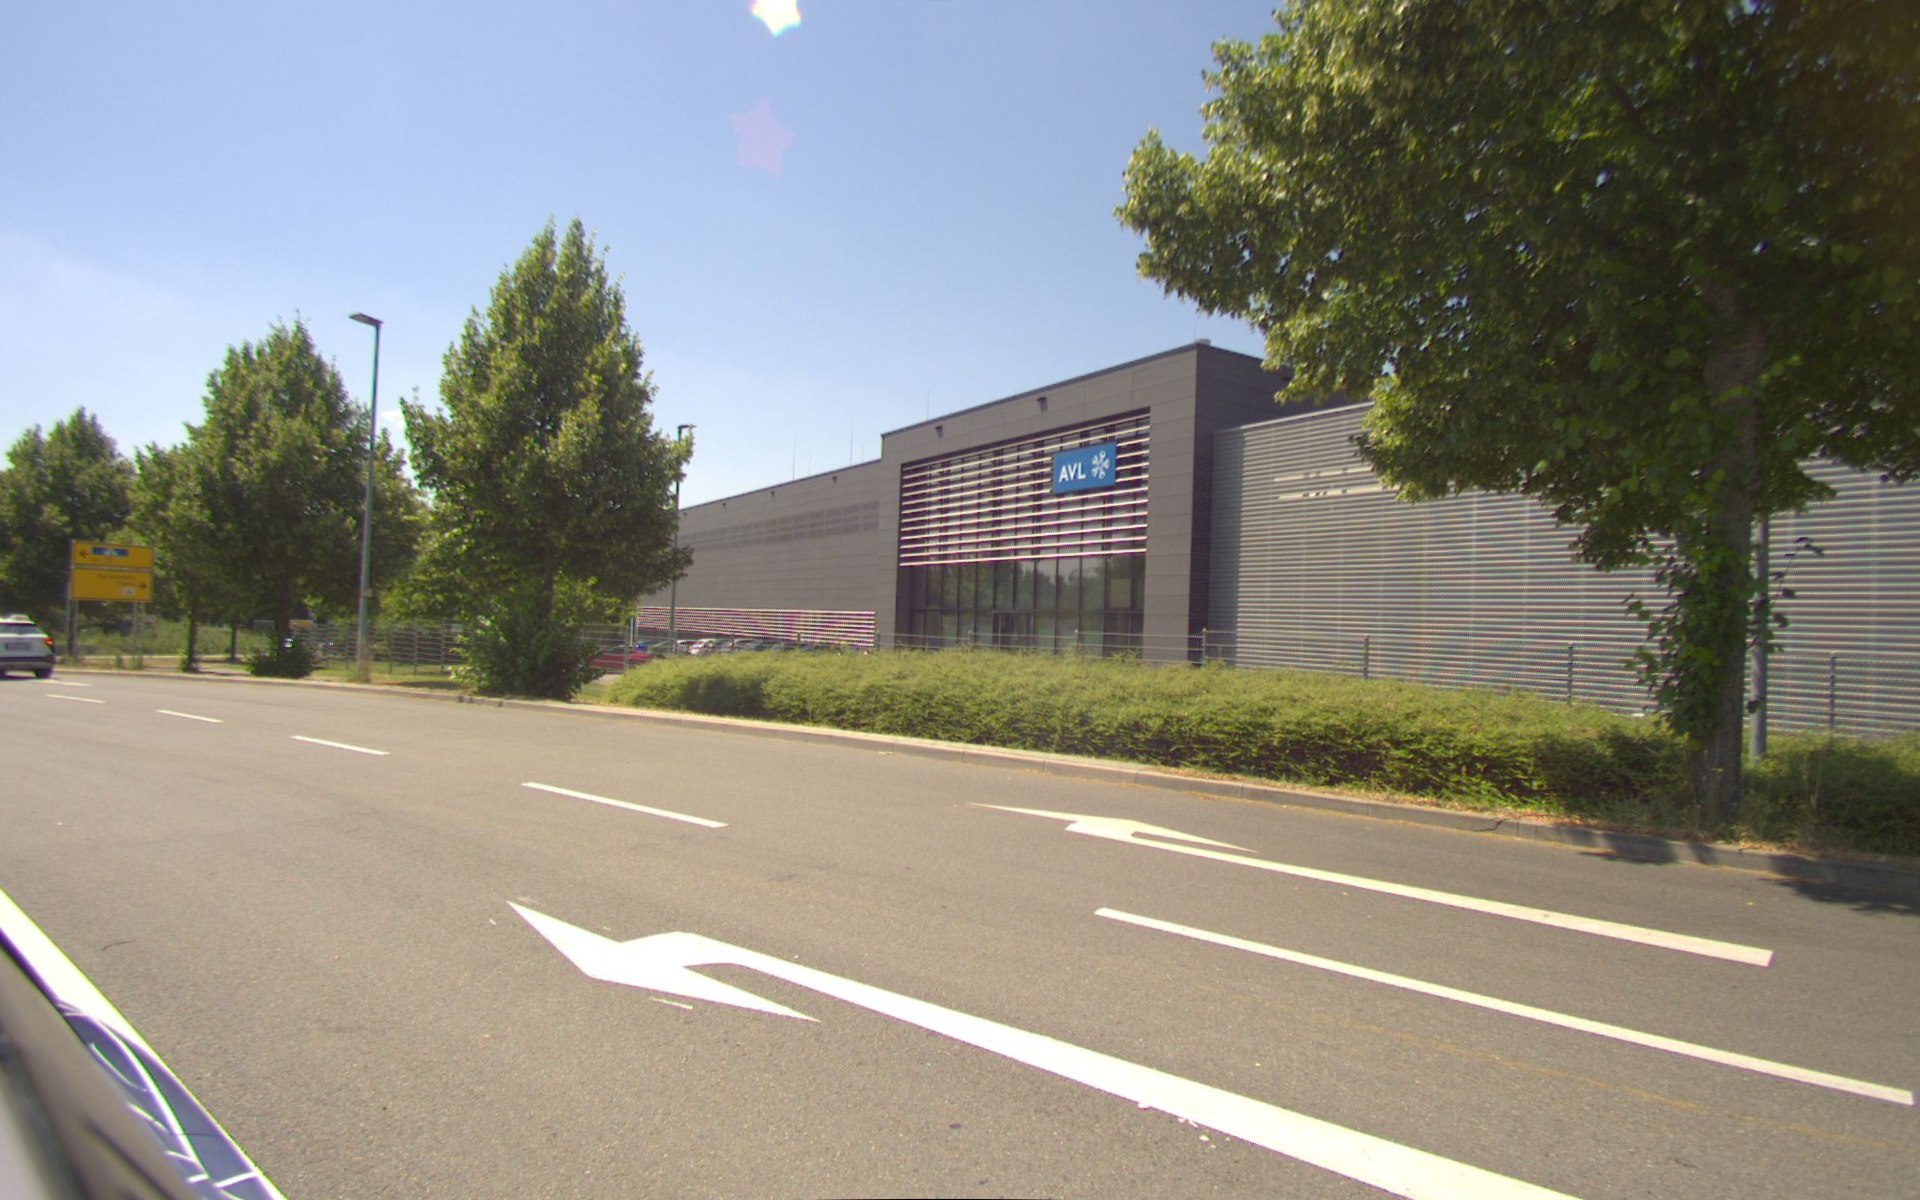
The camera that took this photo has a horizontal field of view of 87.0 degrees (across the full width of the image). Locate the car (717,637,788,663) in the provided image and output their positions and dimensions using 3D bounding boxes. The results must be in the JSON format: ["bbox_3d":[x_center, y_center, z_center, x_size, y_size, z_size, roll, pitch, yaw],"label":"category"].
[{"bbox_3d":[-13.062,3.192,63.769,3.934,1.528,1.924,4,-6,-37],"label":"car"}]

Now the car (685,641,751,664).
[{"bbox_3d":[-16.399,3.572,68.662,3.934,1.471,1.775,4,-6,-37],"label":"car"}]

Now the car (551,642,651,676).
[{"bbox_3d":[-16.767,2.779,47.313,3.934,1.497,2.004,4,-6,-37],"label":"car"}]

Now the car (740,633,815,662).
[{"bbox_3d":[-10.670,2.830,59.356,3.934,1.540,1.824,4,-6,-37],"label":"car"}]

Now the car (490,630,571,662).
[{"bbox_3d":[-25.049,2.719,59.079,3.934,1.719,2.004,4,-6,-37],"label":"car"}]

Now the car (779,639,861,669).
[{"bbox_3d":[-7.593,2.976,54.949,3.934,1.497,2.004,4,-6,-37],"label":"car"}]

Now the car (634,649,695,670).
[{"bbox_3d":[-22.267,4.495,76.401,3.934,1.497,2.004,4,-6,-37],"label":"car"}]

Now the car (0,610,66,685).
[{"bbox_3d":[-24.798,1.161,25.537,3.842,1.720,1.984,1,1,25],"label":"car"}]

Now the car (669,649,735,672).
[{"bbox_3d":[-18.048,4.244,70.863,3.934,1.497,2.004,4,-6,-37],"label":"car"}]

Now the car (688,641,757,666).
[{"bbox_3d":[-15.532,3.527,66.272,3.934,1.497,2.004,4,-6,-37],"label":"car"}]

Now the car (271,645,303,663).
[{"bbox_3d":[-71.208,5.769,107.117,1.965,1.796,4.012,2,-5,-21],"label":"car"}]

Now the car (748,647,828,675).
[{"bbox_3d":[-9.707,3.468,57.177,3.934,1.497,2.004,4,-6,-37],"label":"car"}]

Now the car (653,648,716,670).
[{"bbox_3d":[-20.285,4.376,74.573,3.934,1.497,2.004,4,-6,-37],"label":"car"}]
